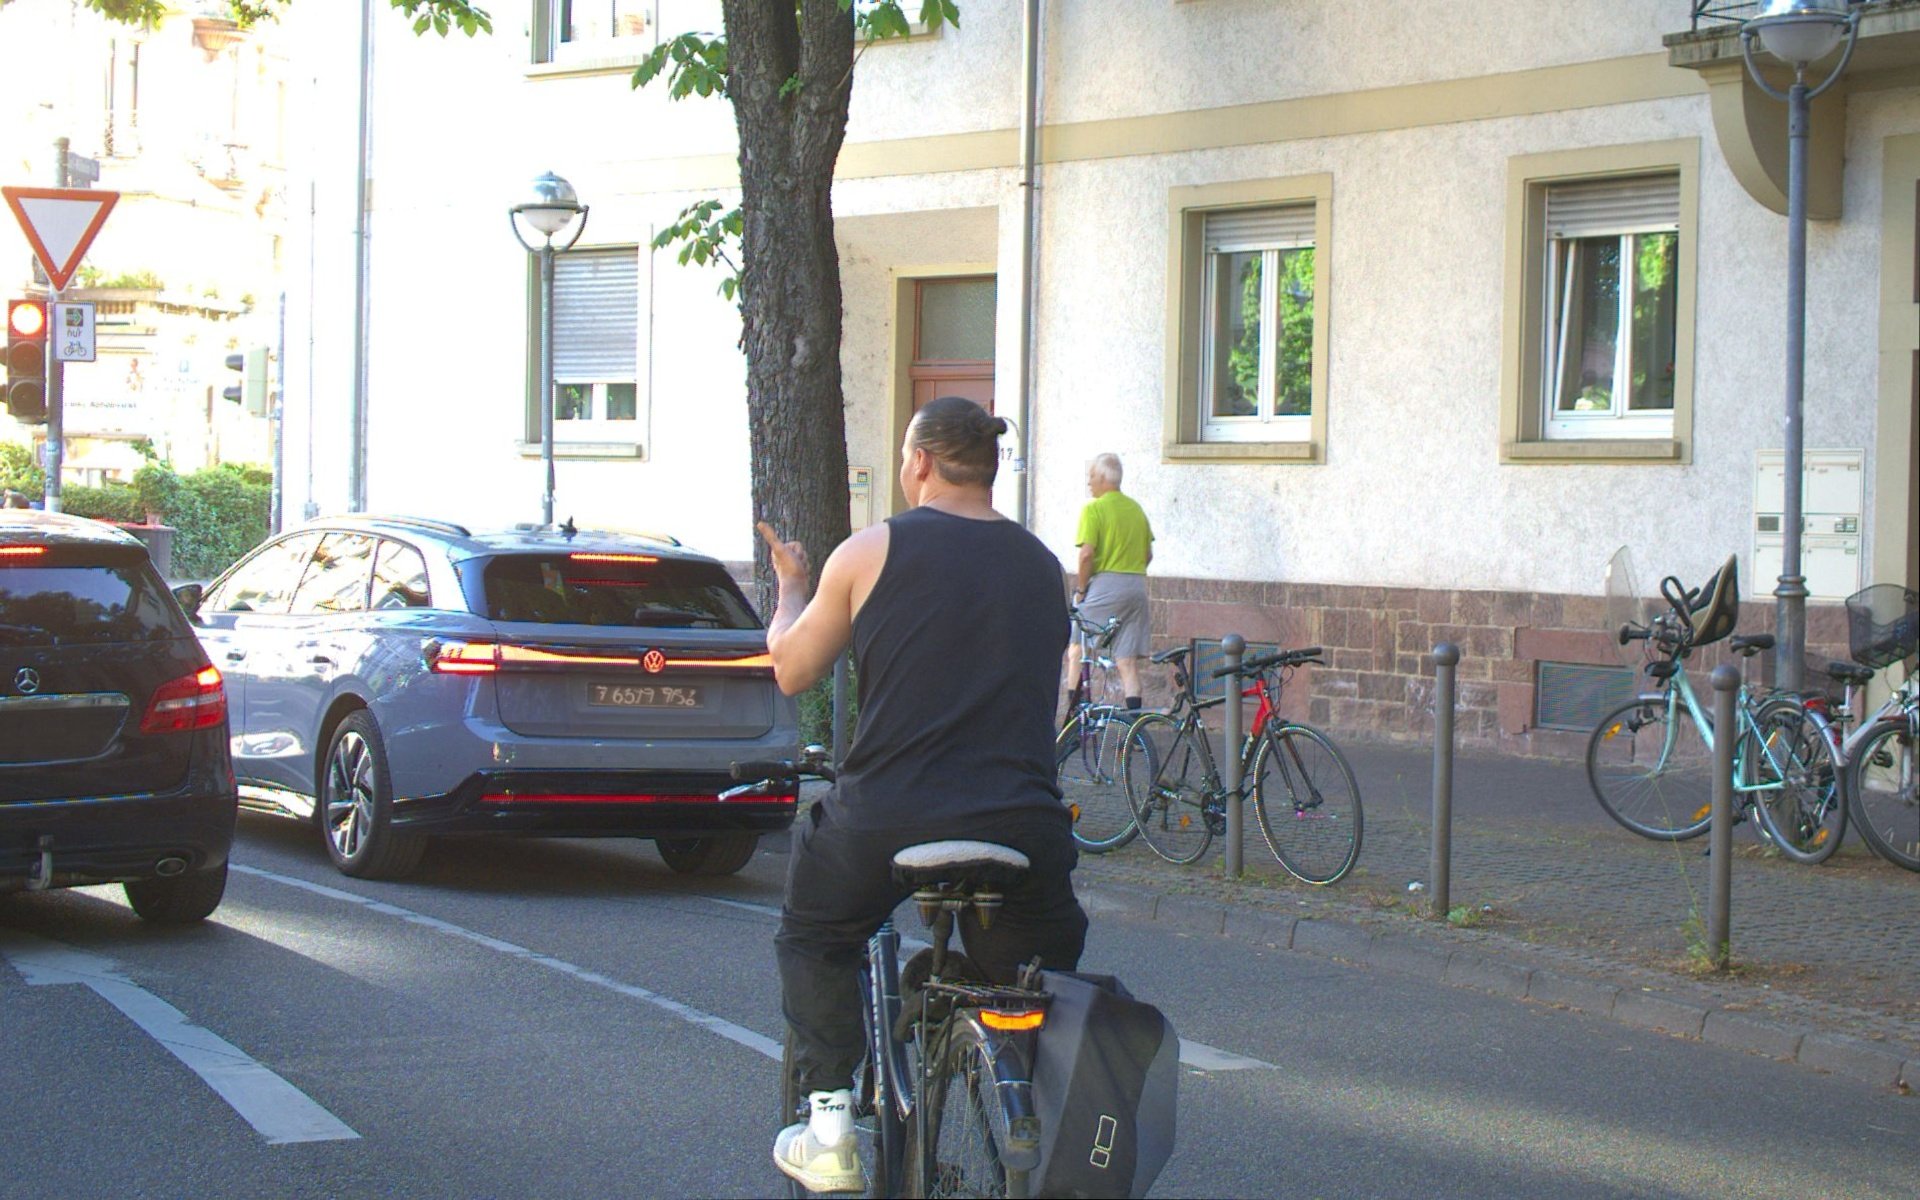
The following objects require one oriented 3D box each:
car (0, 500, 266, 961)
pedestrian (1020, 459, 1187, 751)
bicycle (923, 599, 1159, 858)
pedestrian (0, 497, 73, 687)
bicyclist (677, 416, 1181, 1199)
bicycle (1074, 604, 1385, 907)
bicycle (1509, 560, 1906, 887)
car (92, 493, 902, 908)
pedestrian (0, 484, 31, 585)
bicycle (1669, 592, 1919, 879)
[{"bbox_3d":[-4.266,0.396,13.206,1.790,1.536,3.860,-2,2,-34],"label":"car"},{"bbox_3d":[0.869,0.008,20.945,0.643,1.721,0.888,-2,3,-27],"label":"pedestrian"},{"bbox_3d":[0.354,0.568,16.005,0.480,1.060,1.636,-2,3,-22],"label":"bicycle"},{"bbox_3d":[-8.453,-0.086,30.641,0.901,1.629,0.726,3,2,-21],"label":"pedestrian"},{"bbox_3d":[-0.086,0.505,6.276,0.686,1.650,0.990,0,2,-15],"label":"bicyclist"},{"bbox_3d":[1.101,0.612,14.413,0.526,1.103,1.741,-2,3,-24],"label":"bicycle"},{"bbox_3d":[3.189,0.486,14.888,0.717,1.273,1.967,-1,2,-21],"label":"bicycle"},{"bbox_3d":[-2.292,0.375,15.793,1.970,1.580,4.475,3,0,-31],"label":"car"},{"bbox_3d":[-16.238,-1.105,57.756,0.711,1.659,0.896,6,3,34],"label":"pedestrian"},{"bbox_3d":[3.901,0.554,14.906,0.667,1.103,1.967,1,1,-19],"label":"bicycle"}]
